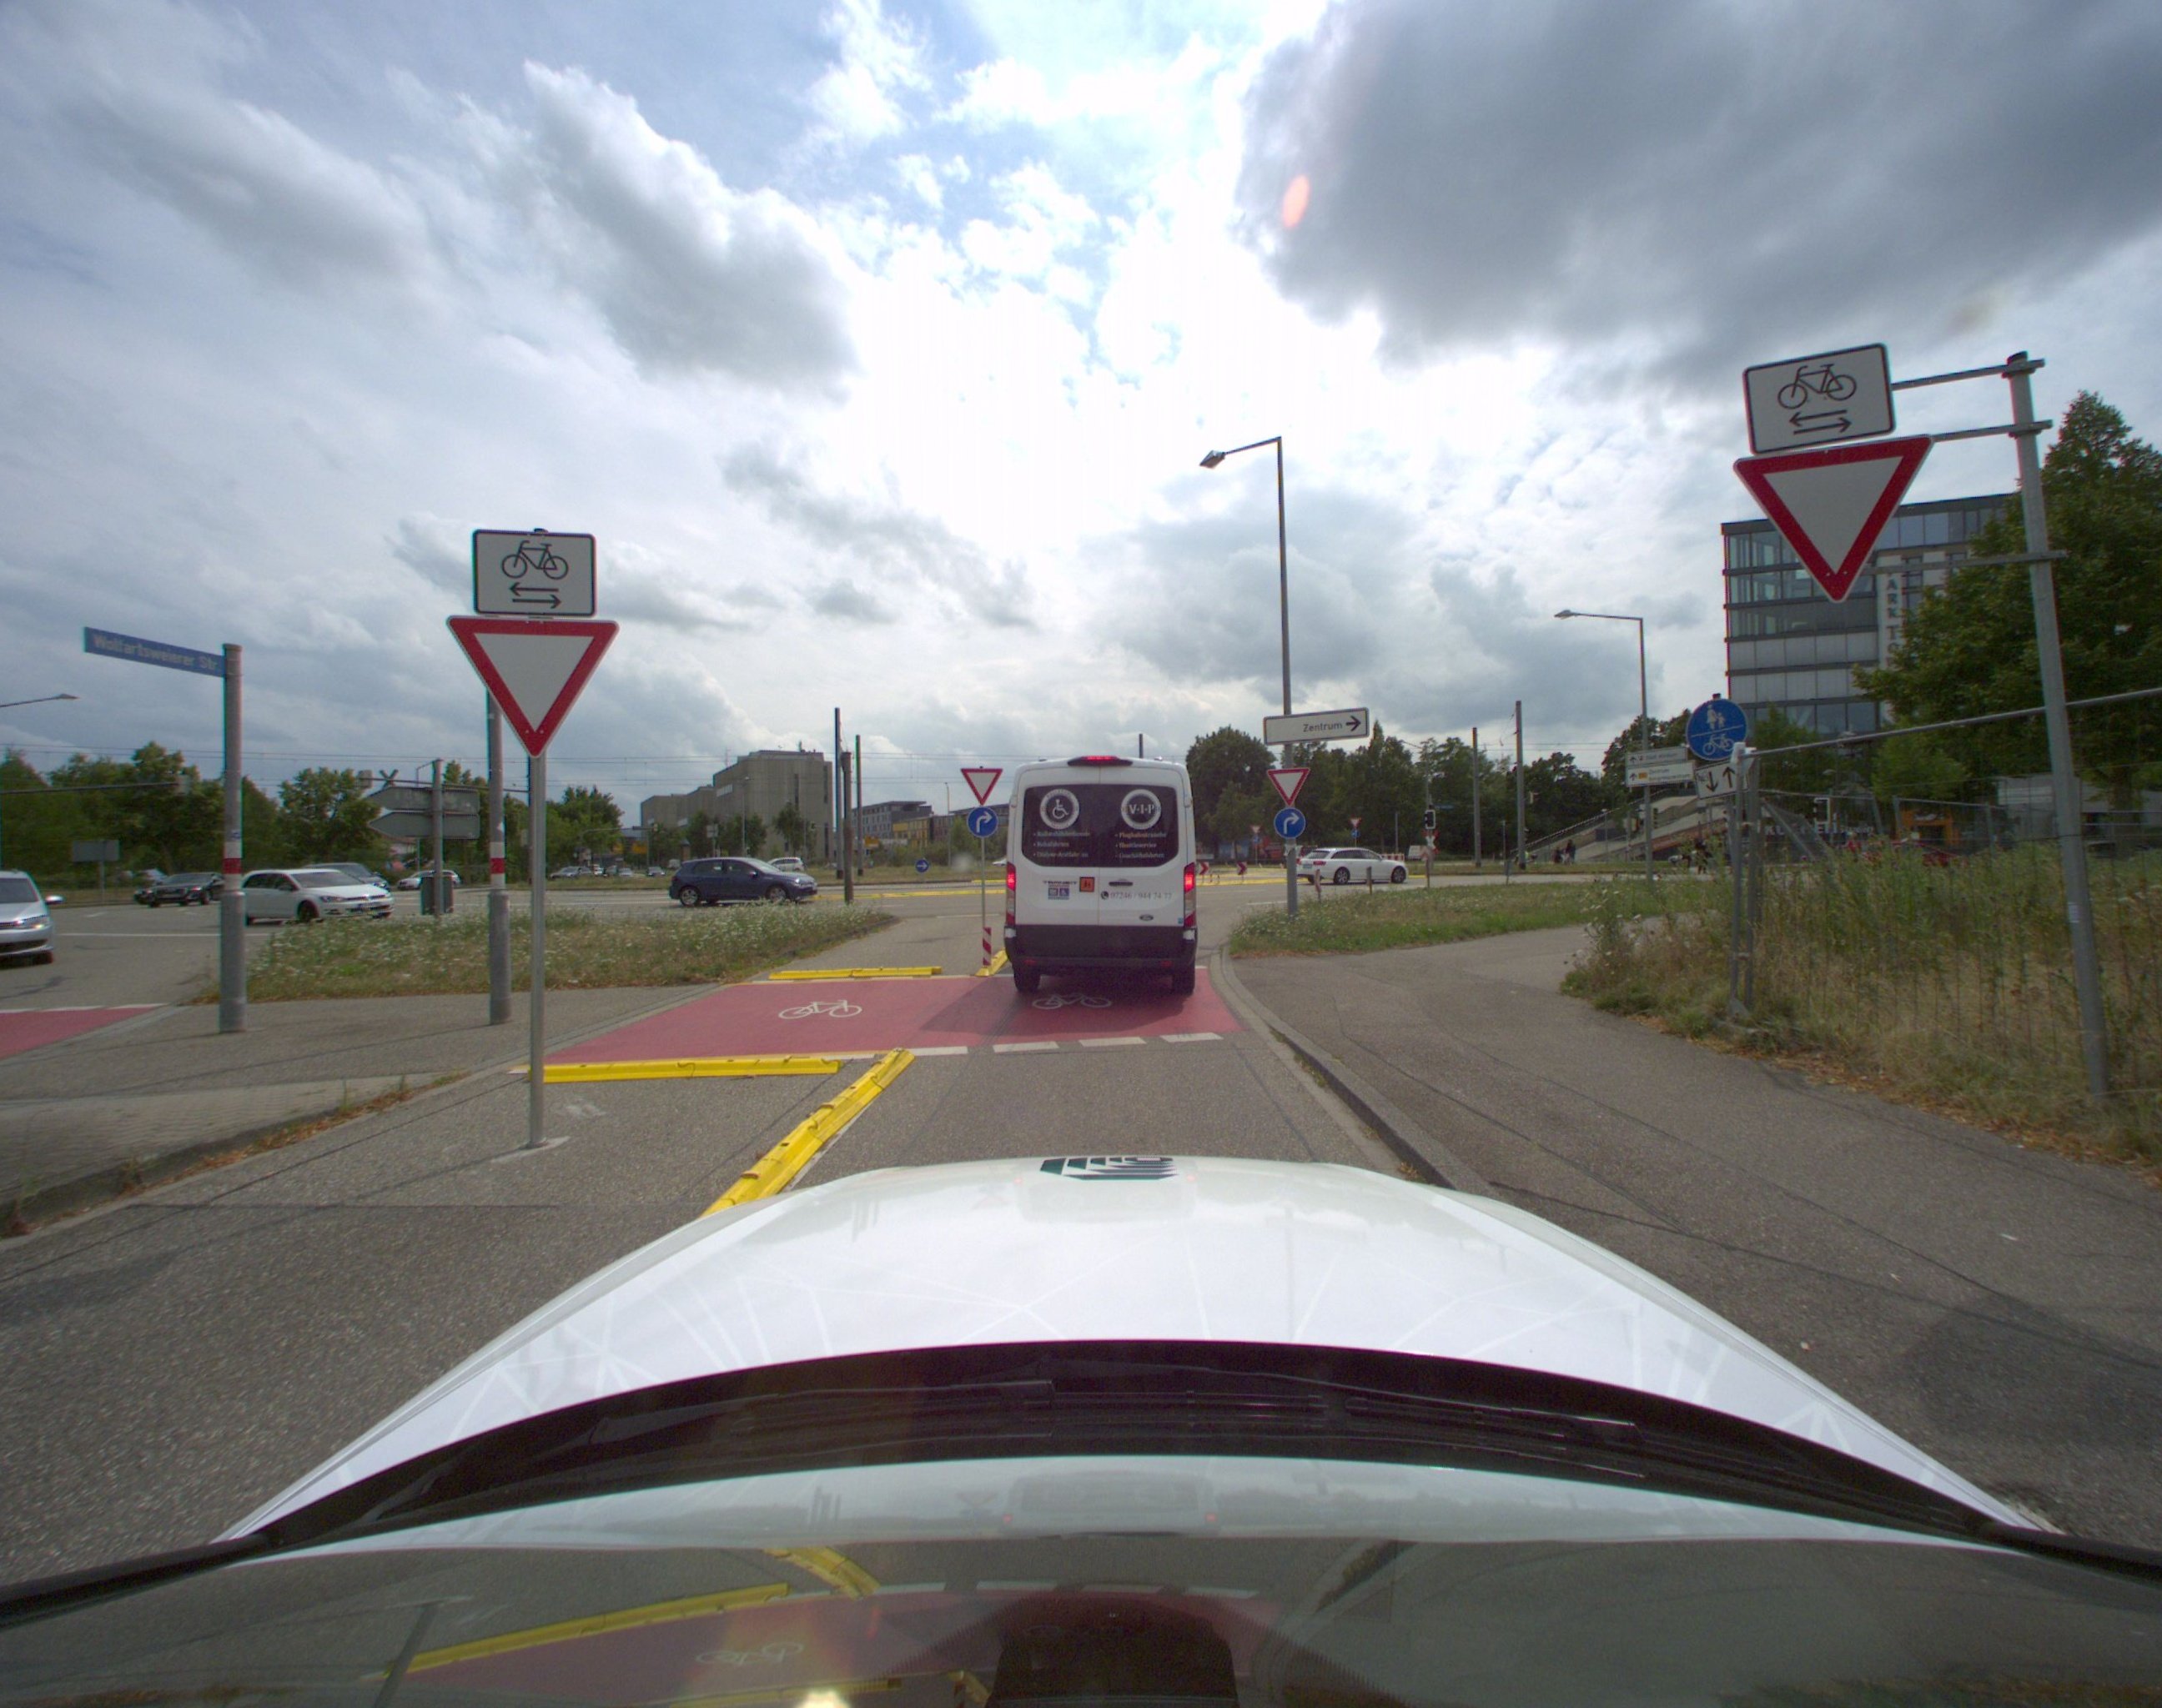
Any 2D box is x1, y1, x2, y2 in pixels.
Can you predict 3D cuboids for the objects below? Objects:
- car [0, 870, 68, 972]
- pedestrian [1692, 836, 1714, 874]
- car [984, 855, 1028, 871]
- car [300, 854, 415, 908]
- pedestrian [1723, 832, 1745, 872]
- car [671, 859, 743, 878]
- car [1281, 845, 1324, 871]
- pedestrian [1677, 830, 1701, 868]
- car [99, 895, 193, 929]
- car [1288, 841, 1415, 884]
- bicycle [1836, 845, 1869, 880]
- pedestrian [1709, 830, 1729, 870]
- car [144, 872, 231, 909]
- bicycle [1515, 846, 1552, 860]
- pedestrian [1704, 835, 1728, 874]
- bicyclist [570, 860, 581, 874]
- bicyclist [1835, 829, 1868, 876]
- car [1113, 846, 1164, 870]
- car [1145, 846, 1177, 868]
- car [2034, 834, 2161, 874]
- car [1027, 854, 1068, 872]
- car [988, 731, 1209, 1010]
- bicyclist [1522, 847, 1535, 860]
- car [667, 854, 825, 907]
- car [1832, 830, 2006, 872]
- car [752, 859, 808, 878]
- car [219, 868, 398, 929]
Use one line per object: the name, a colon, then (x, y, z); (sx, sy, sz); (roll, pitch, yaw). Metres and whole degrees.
car: (-19.371, 1.129, 14.308); (4.686, 1.622, 1.813); (-1, 0, 37)
pedestrian: (29.161, 0.040, 38.178); (0.628, 1.781, 0.554); (-1, 0, 8)
car: (-8.109, 1.003, 88.686); (4.368, 1.666, 1.920); (-1, 0, -30)
car: (-26.487, 0.982, 29.791); (4.199, 1.859, 1.802); (-1, 0, 29)
pedestrian: (29.852, -0.088, 37.239); (0.575, 1.781, 0.554); (-1, 0, 8)
car: (-31.958, 1.245, 69.635); (5.212, 1.482, 1.976); (-1, 0, -43)
car: (15.583, 0.316, 57.455); (1.986, 1.750, 4.000); (-1, -2, 1)
pedestrian: (28.456, -0.242, 38.137); (0.684, 1.781, 0.554); (-1, 0, 8)
car: (-48.388, 2.960, 42.259); (1.633, 1.414, 3.694); (-3, 0, -22)
car: (11.011, 0.326, 33.140); (4.756, 1.618, 1.985); (-1, -1, -22)
bicycle: (27.572, 0.297, 29.136); (0.781, 1.168, 2.054); (-2, -1, 42)
pedestrian: (29.810, -0.171, 38.060); (0.526, 1.862, 0.554); (-1, 0, 8)
car: (-39.996, 1.612, 36.432); (4.315, 1.534, 1.743); (-1, 0, 30)
bicycle: (31.524, -0.059, 56.714); (2.176, 0.938, 0.618); (-2, -2, 41)
pedestrian: (29.178, 0.015, 37.431); (0.684, 1.781, 0.554); (-1, 0, 8)
bicyclist: (-50.295, 1.272, 81.035); (0.853, 1.409, 0.678); (-2, -1, 37)
bicyclist: (27.564, -0.059, 29.139); (0.781, 1.627, 1.055); (-2, -1, 42)
car: (5.069, 0.340, 72.063); (3.950, 2.013, 2.012); (-1, 0, 26)
car: (8.544, 0.344, 87.304); (2.030, 2.279, 4.134); (0, -2, -18)
car: (38.691, -0.017, 30.177); (3.959, 1.374, 2.007); (-1, 0, 13)
car: (-3.948, 1.039, 94.884); (4.362, 2.014, 1.986); (0, -2, -20)
car: (0.498, 0.189, 10.774); (2.115, 2.697, 5.642); (-1, 0, 7)
bicyclist: (31.288, -0.062, 56.911); (0.650, 0.884, 0.611); (-2, -2, 40)
car: (-10.245, 0.789, 25.152); (4.090, 1.497, 1.801); (-1, 0, -1)
car: (34.790, -0.098, 33.970); (4.704, 1.618, 2.007); (-1, -1, 12)
car: (-27.256, 1.297, 73.883); (4.380, 1.666, 1.914); (-1, -1, -44)
car: (-20.929, 1.182, 22.069); (4.210, 1.497, 1.811); (-1, 0, 20)
